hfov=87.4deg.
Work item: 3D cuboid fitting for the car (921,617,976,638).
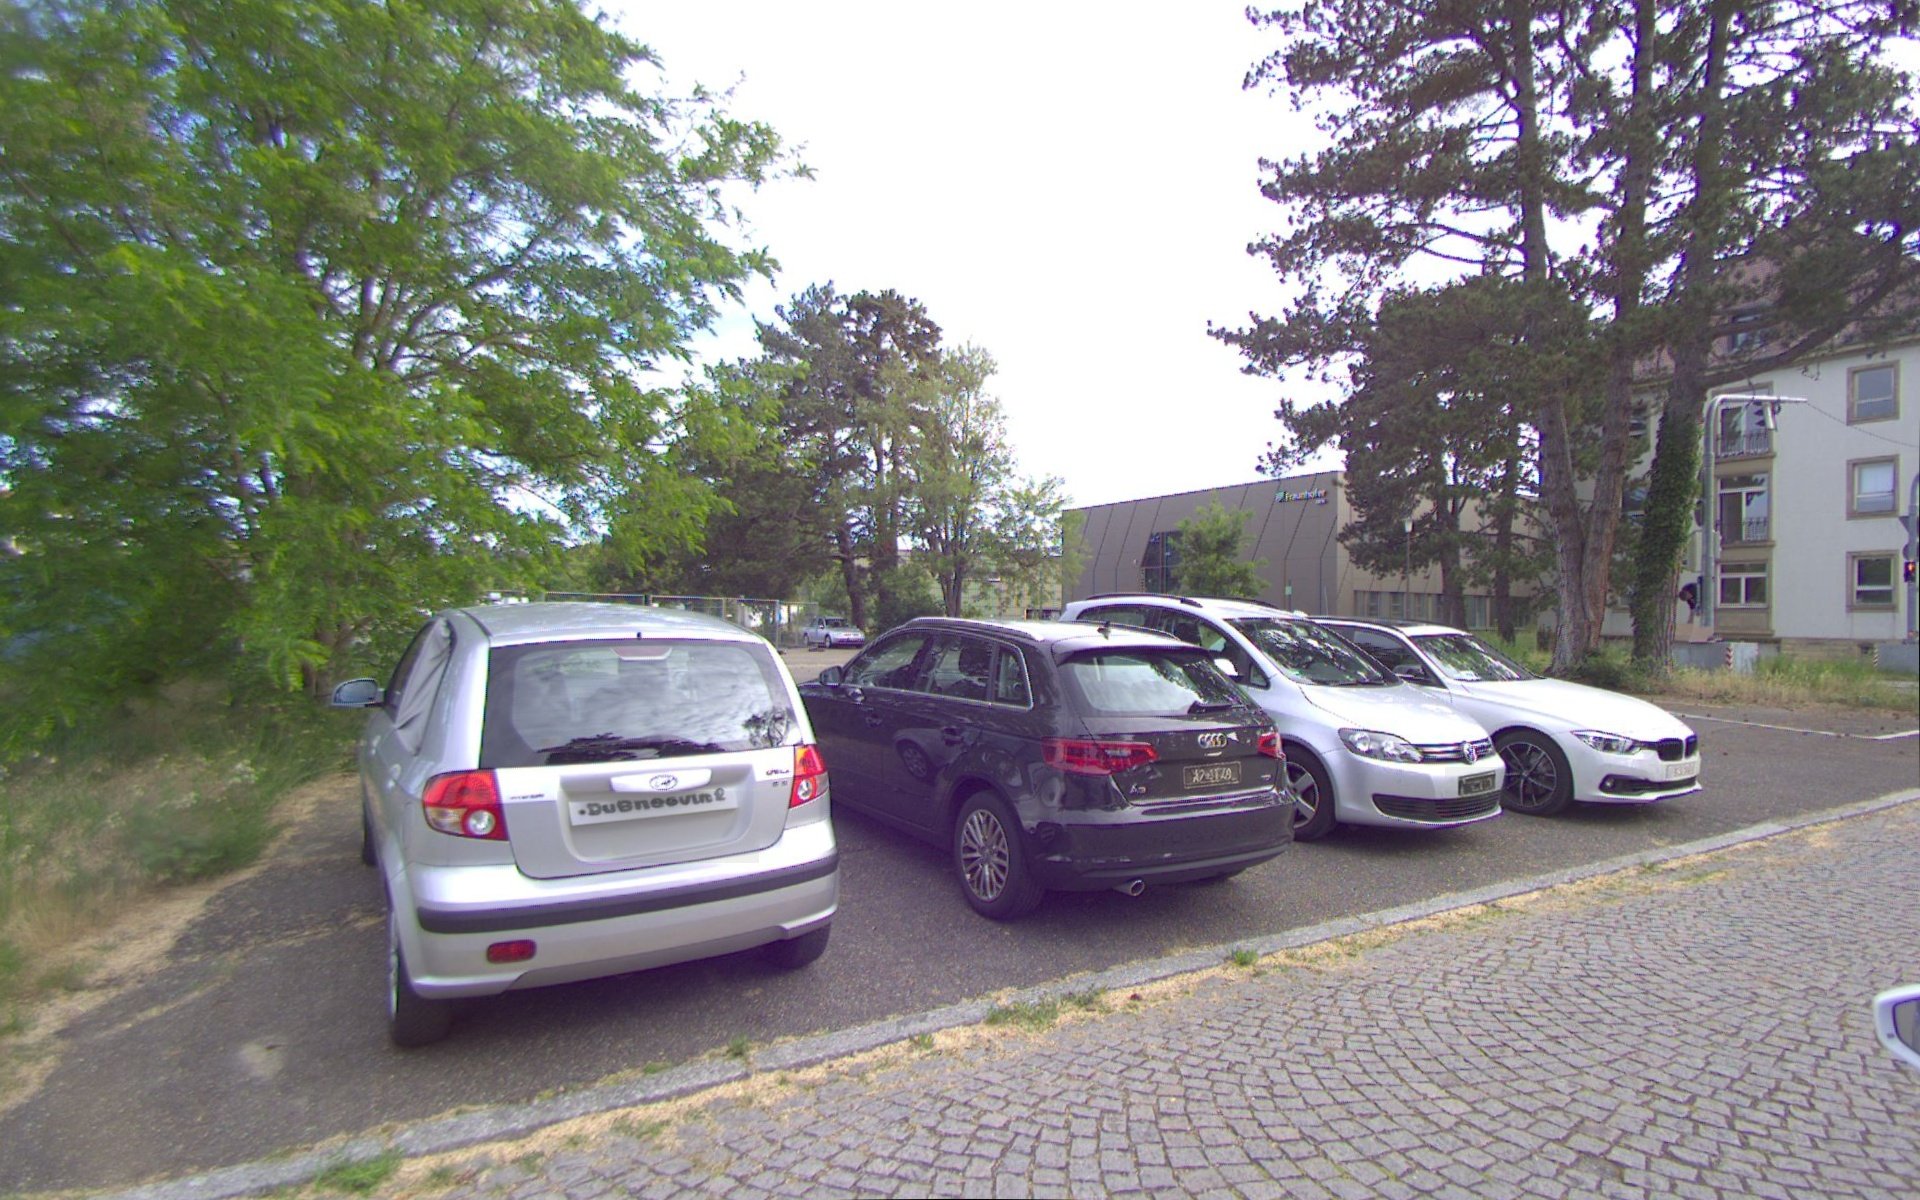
[{"bbox_3d":[-0.845,2.028,75.491,3.615,1.449,1.985,-1,0,-29],"label":"car"}]

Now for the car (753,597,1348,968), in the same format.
[{"bbox_3d":[0.206,0.787,6.402,1.731,1.447,3.965,1,1,-32],"label":"car"}]

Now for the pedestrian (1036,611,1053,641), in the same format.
[{"bbox_3d":[5.904,1.804,70.202,0.887,2.040,0.918,0,-1,35],"label":"pedestrian"}]

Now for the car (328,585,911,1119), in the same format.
[{"bbox_3d":[-1.970,0.729,4.945,1.790,1.472,3.654,1,2,-34],"label":"car"}]

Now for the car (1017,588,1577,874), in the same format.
[{"bbox_3d":[2.354,0.764,7.975,1.707,1.568,3.961,1,1,-34],"label":"car"}]

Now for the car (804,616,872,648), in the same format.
[{"bbox_3d":[-5.720,1.453,46.742,1.678,1.410,3.965,1,-1,-32],"label":"car"}]

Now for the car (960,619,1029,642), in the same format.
[{"bbox_3d":[2.368,2.080,68.798,4.405,1.449,1.985,-1,0,-29],"label":"car"}]

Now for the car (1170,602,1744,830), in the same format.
[{"bbox_3d":[4.338,0.846,9.591,1.783,1.463,4.618,1,1,-34],"label":"car"}]
